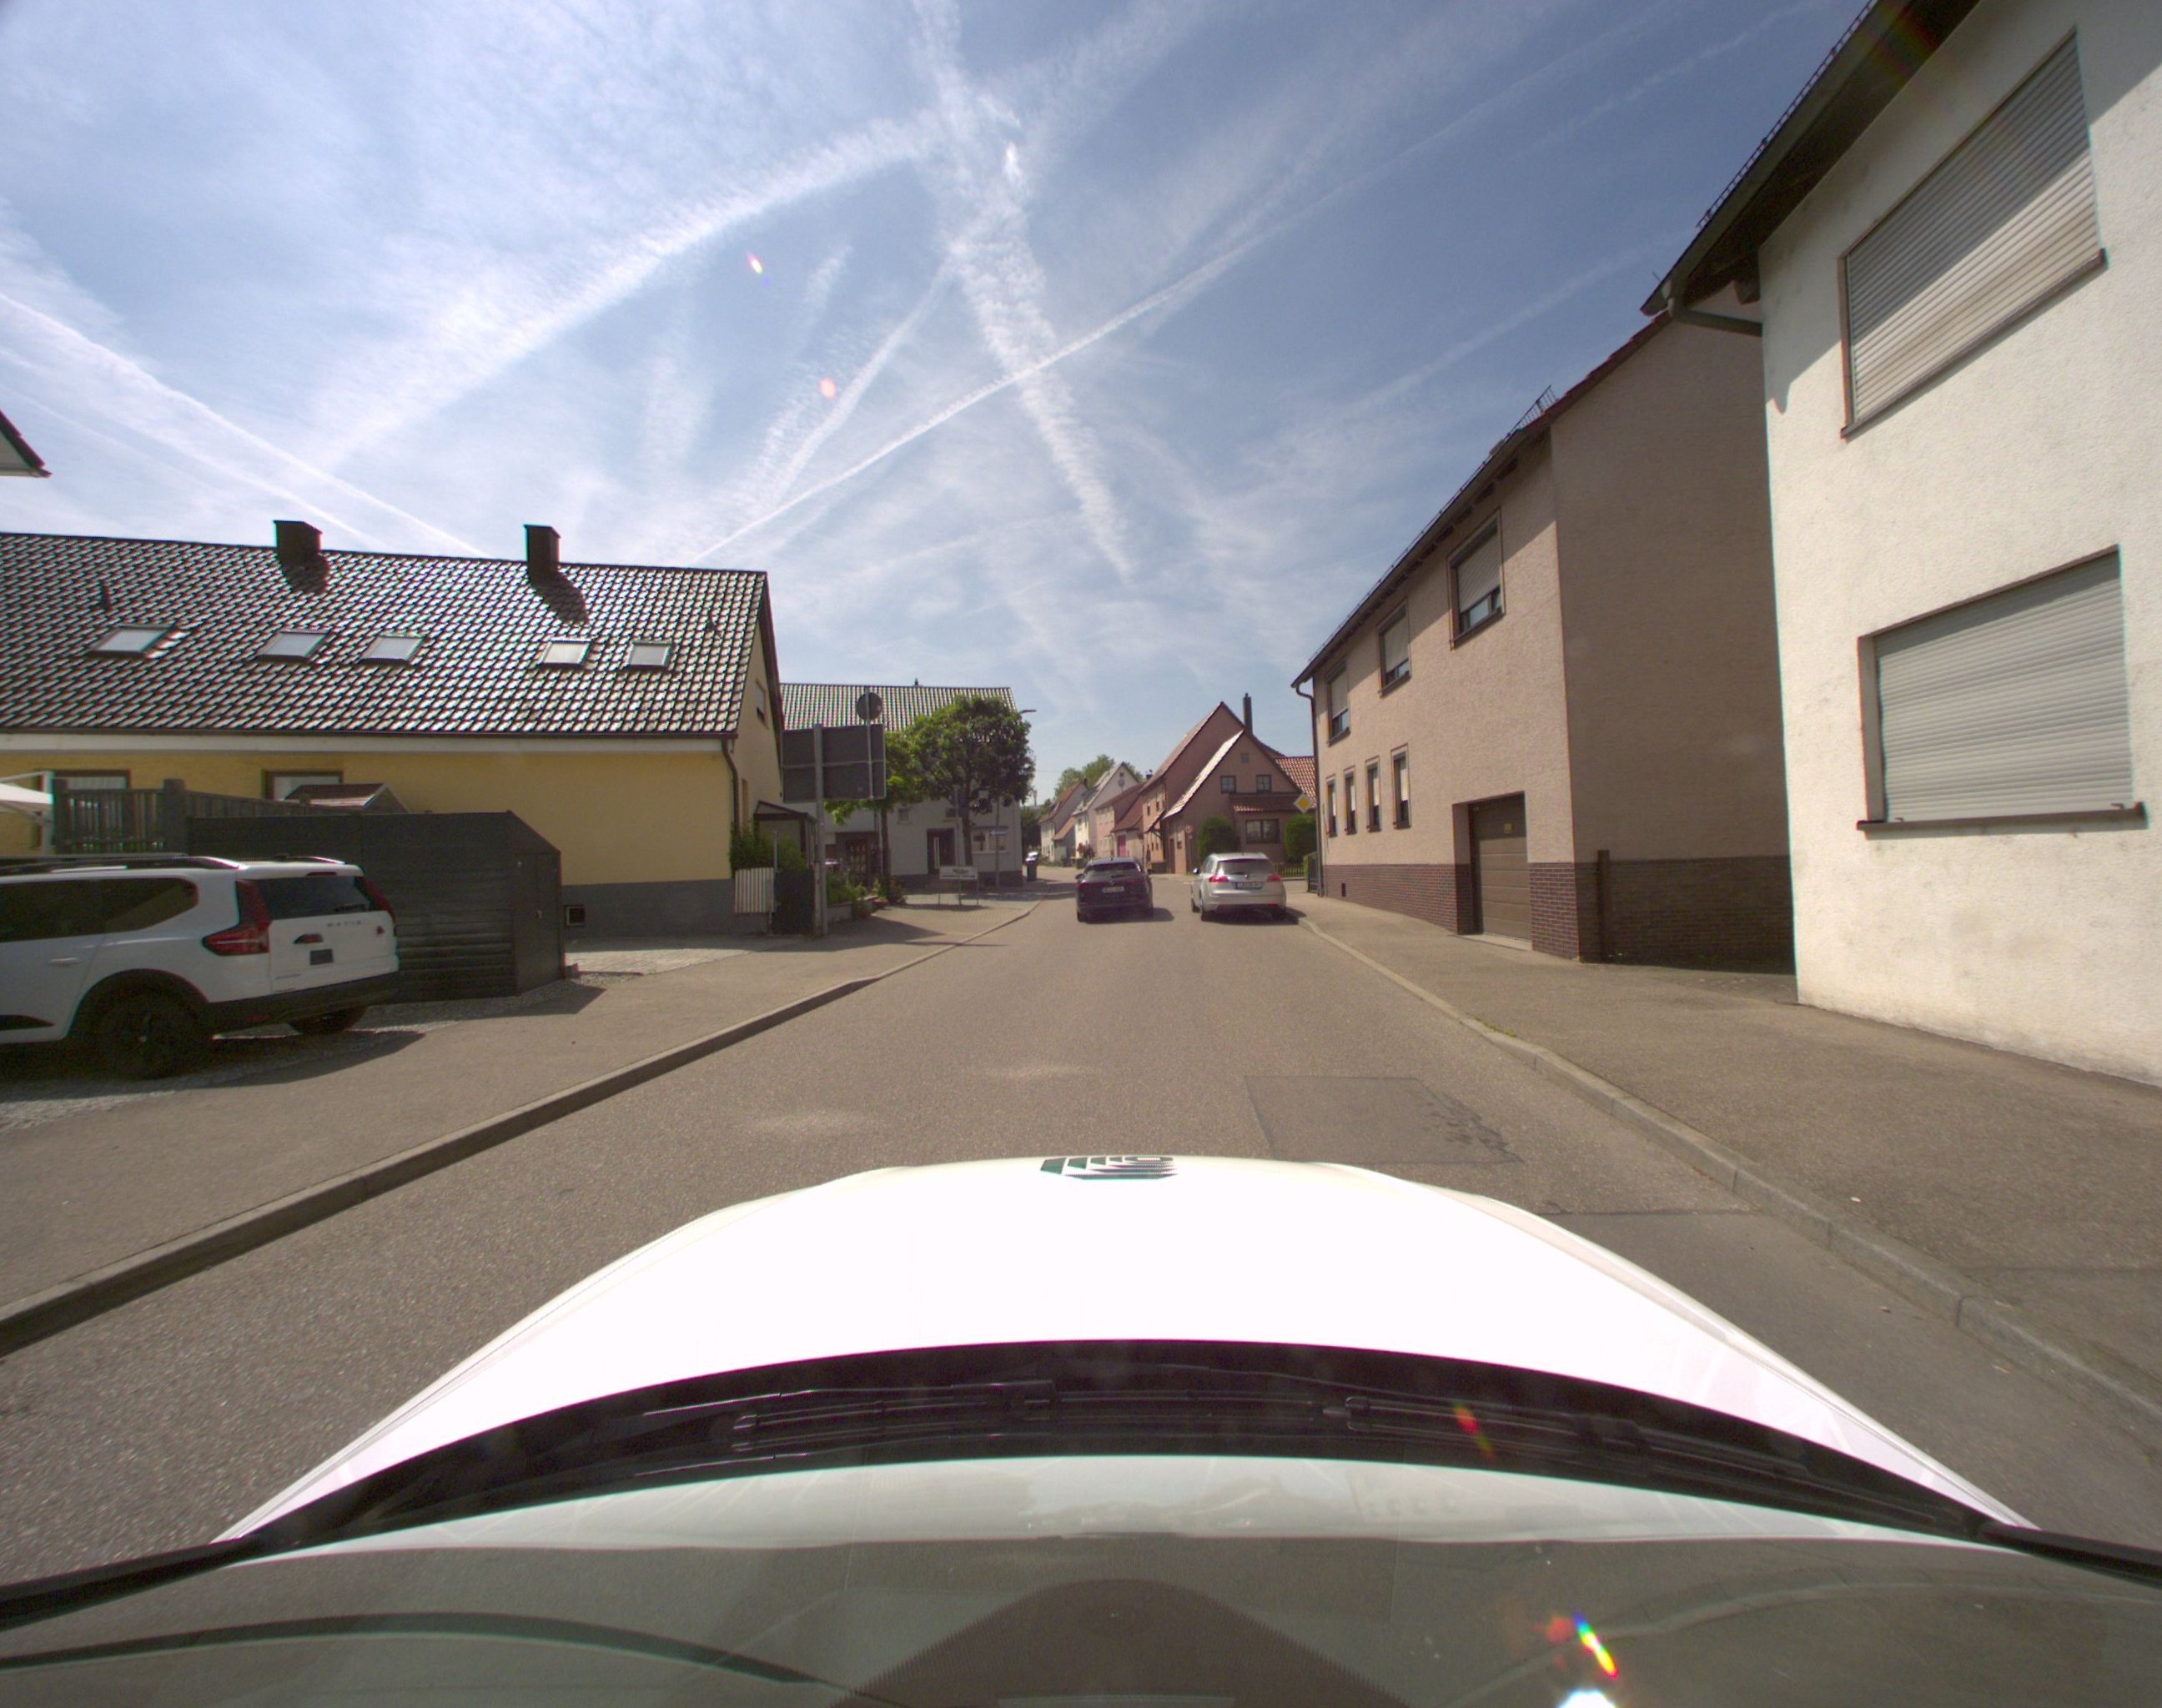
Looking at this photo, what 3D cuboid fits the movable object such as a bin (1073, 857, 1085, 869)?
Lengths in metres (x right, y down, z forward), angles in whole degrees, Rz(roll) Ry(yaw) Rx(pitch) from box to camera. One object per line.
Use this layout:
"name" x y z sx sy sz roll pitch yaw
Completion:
"movable object such as a bin" -0.217 0.835 79.480 0.878 1.074 0.868 -6 1 -16

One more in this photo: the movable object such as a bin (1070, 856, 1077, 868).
"movable object such as a bin" -0.825 0.861 88.599 0.665 1.194 0.657 -1 0 -12

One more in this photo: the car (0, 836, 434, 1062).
"car" -8.578 0.740 6.922 4.395 1.622 1.996 -1 -1 -6

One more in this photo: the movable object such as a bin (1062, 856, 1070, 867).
"movable object such as a bin" -1.658 0.852 88.703 0.679 1.155 0.816 -1 -1 -16

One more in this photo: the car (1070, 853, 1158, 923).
"car" 0.791 0.740 20.032 1.834 1.420 4.684 -4 0 2

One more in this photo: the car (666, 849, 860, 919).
"car" -9.562 0.877 24.936 5.102 1.896 2.170 -2 0 -8

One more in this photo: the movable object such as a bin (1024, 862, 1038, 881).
"movable object such as a bin" -2.827 0.982 46.352 0.752 1.060 0.678 -1 0 -5

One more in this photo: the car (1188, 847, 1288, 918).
"car" 3.538 0.596 19.066 1.778 1.442 4.341 -1 0 4

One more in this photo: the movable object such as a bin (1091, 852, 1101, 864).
"movable object such as a bin" 1.428 0.399 78.526 0.680 1.050 0.830 -6 1 -16
